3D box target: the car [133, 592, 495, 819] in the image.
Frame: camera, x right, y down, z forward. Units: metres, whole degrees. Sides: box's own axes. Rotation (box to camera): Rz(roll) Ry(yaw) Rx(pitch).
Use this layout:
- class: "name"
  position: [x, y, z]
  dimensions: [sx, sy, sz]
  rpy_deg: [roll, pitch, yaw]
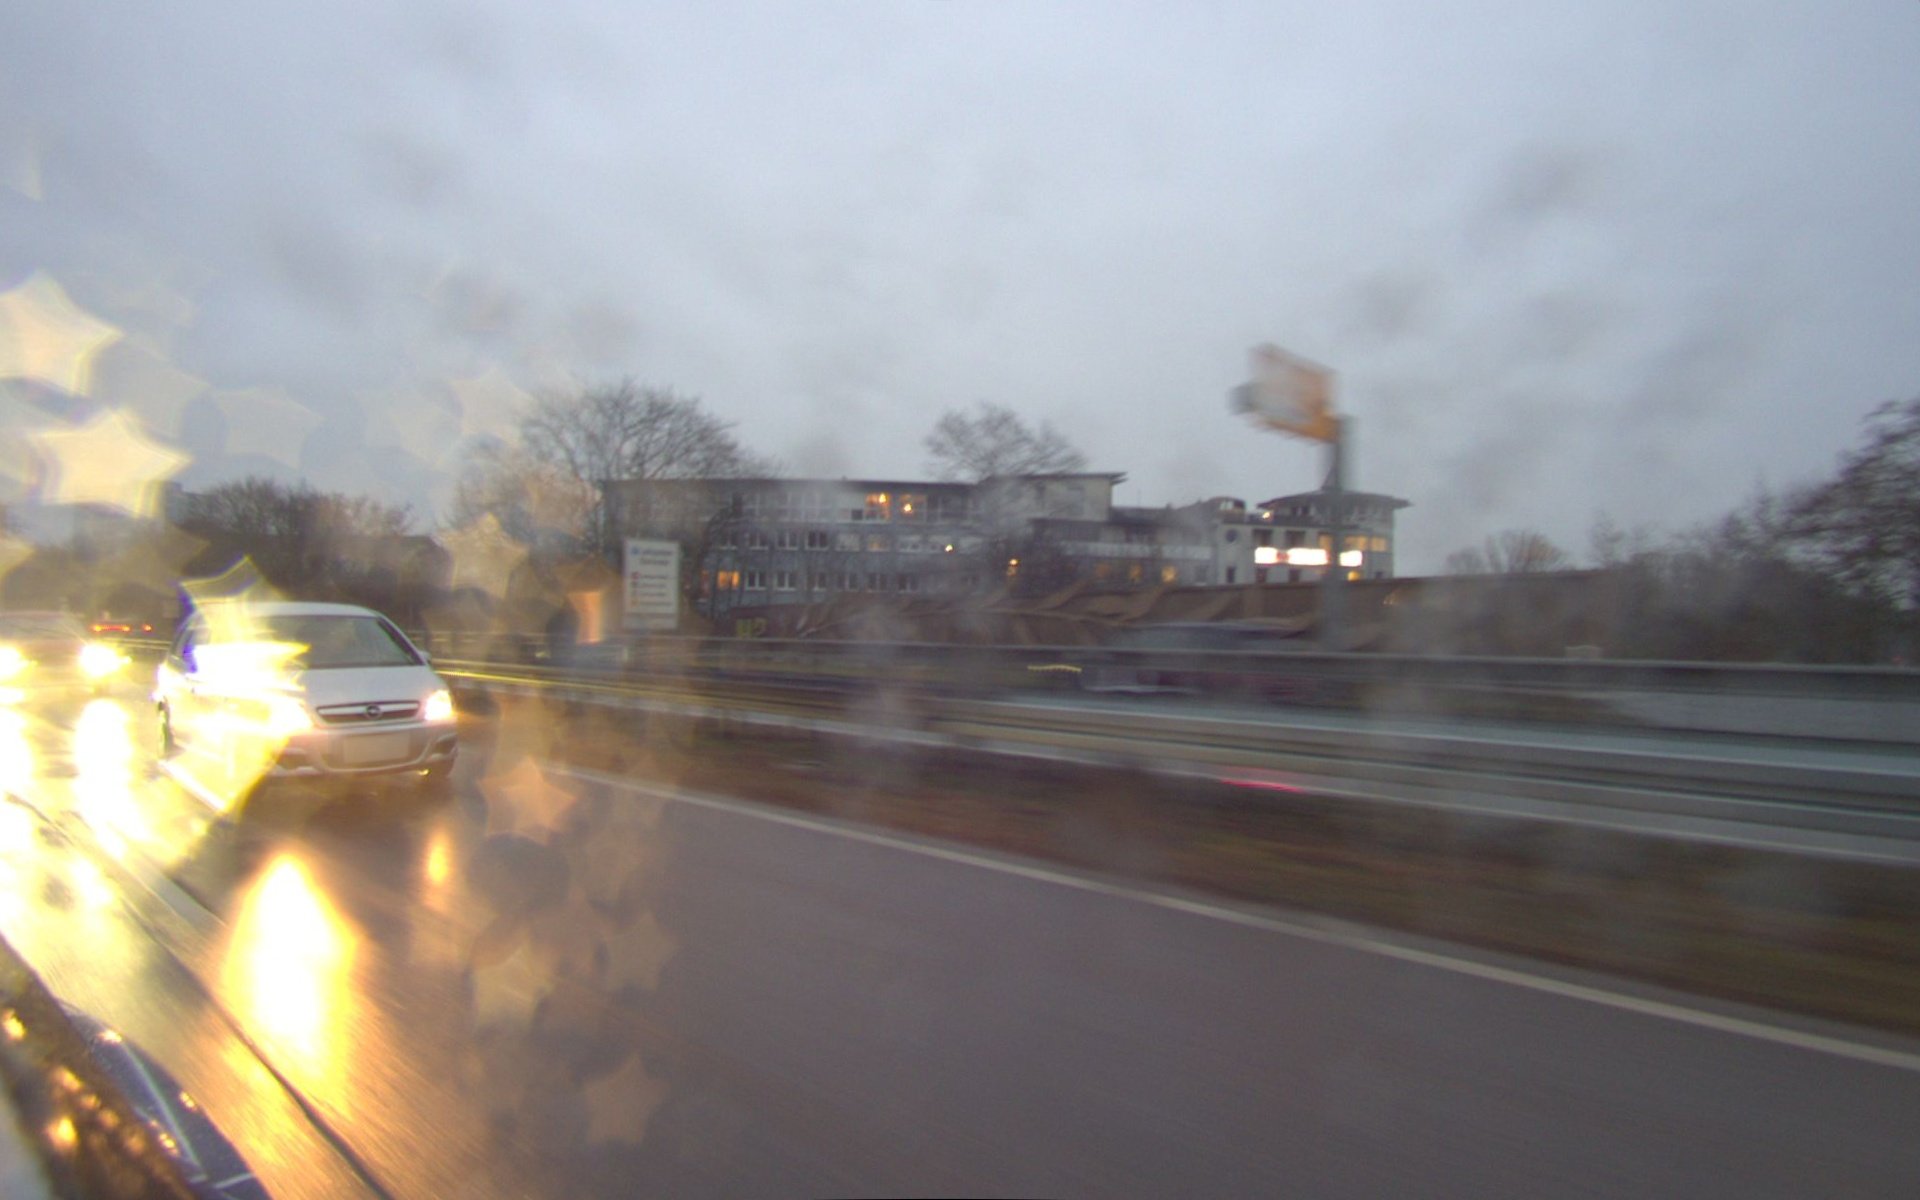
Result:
- class: "car"
  position: [-6.047, 0.783, 9.274]
  dimensions: [4.164, 1.611, 1.742]
  rpy_deg: [-1, -2, 42]

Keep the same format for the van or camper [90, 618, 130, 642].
- class: "van or camper"
  position: [-54.797, 1.899, 65.195]
  dimensions: [4.434, 1.493, 1.510]
  rpy_deg: [-1, -1, 44]

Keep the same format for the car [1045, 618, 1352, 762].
- class: "car"
  position: [3.653, 1.270, 15.931]
  dimensions: [4.284, 1.933, 1.973]
  rpy_deg: [-1, -1, 41]

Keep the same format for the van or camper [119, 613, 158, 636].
- class: "van or camper"
  position: [-64.293, 1.923, 79.193]
  dimensions: [4.884, 1.749, 1.742]
  rpy_deg: [-1, -1, 44]

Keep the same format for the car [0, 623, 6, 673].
- class: "car"
  position: [-27.991, 1.325, 28.127]
  dimensions: [3.996, 1.344, 1.676]
  rpy_deg: [0, 0, 40]

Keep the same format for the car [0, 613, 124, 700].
- class: "car"
  position: [-18.223, 1.039, 19.937]
  dimensions: [4.143, 1.542, 2.001]
  rpy_deg: [0, -2, 40]
